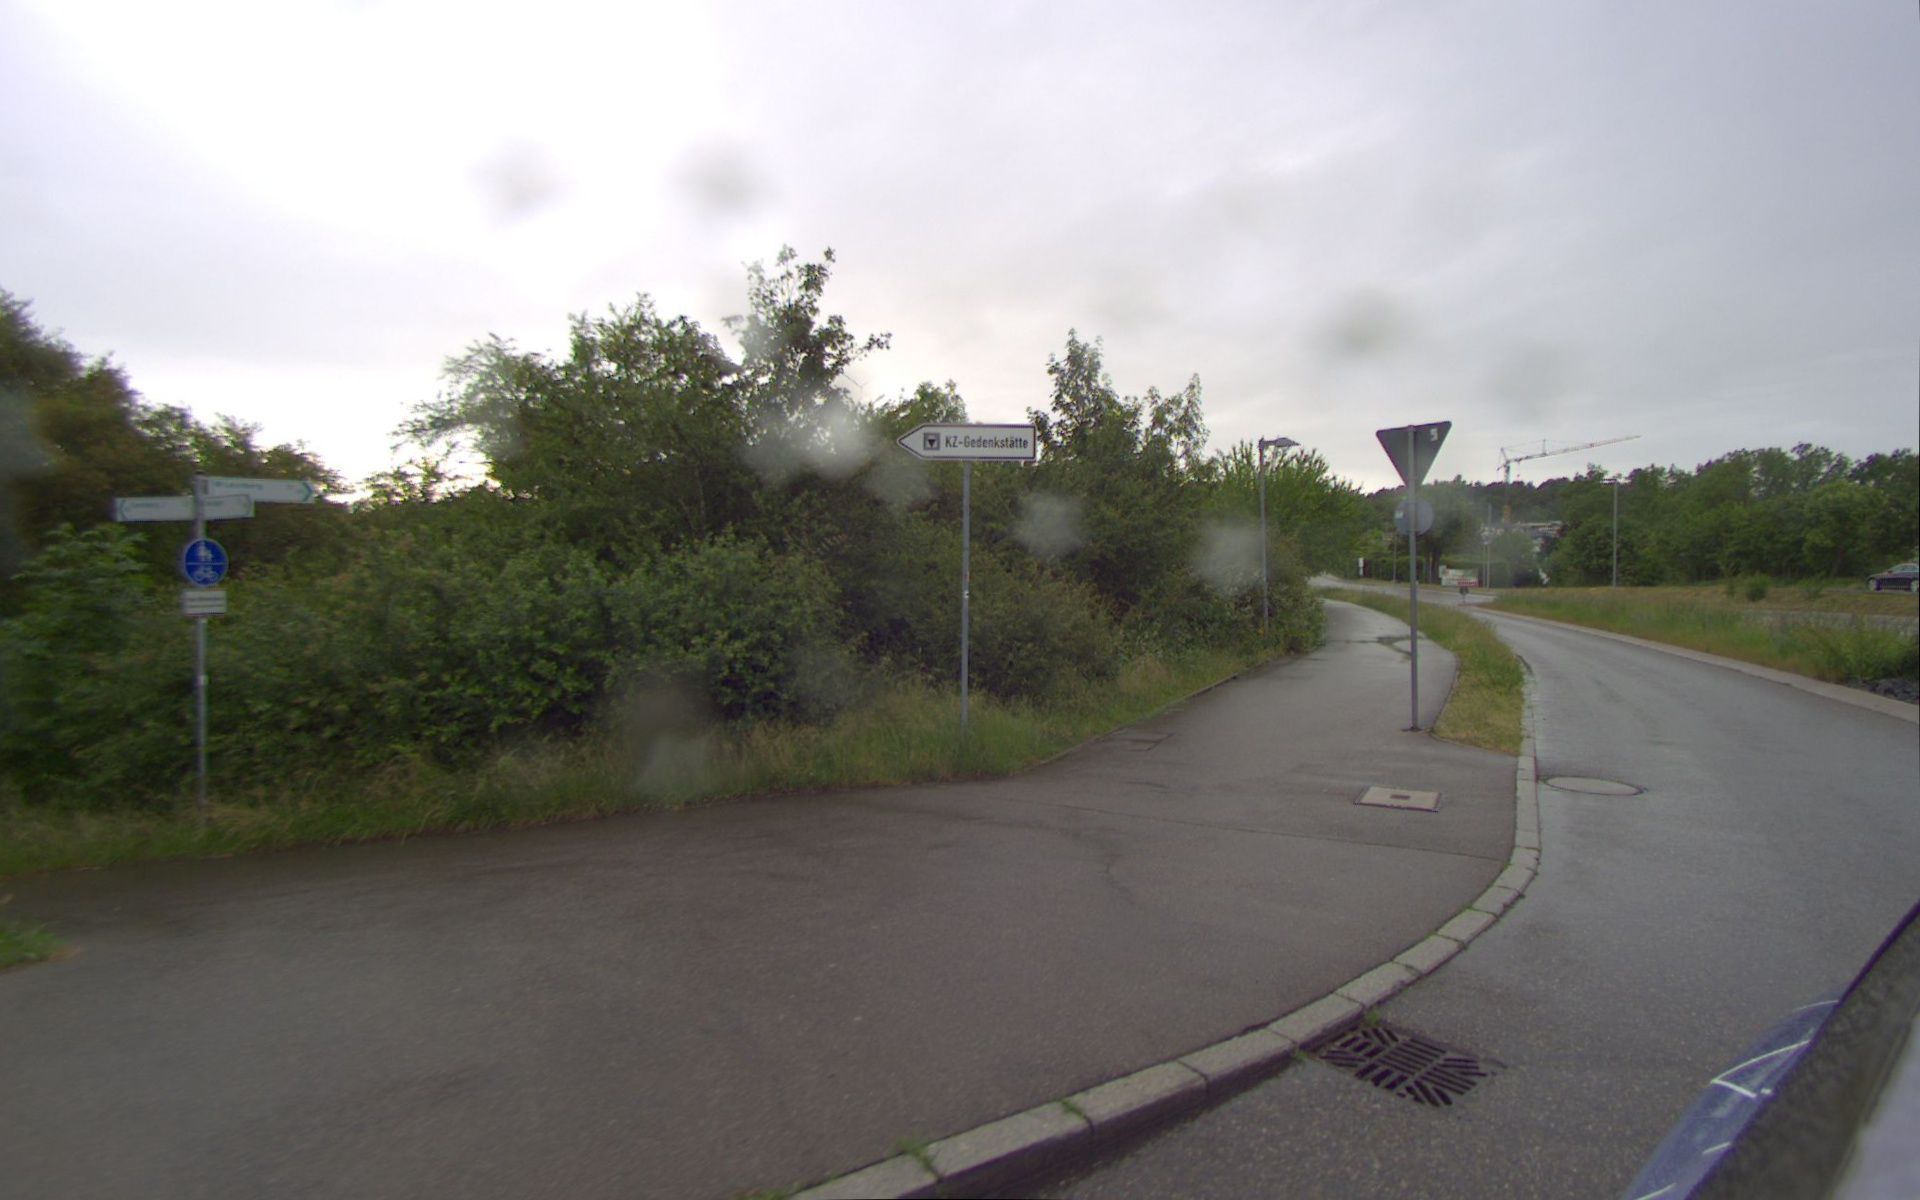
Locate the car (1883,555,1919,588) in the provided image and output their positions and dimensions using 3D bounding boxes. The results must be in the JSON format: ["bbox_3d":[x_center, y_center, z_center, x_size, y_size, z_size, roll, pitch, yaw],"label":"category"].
[{"bbox_3d":[47.353,-1.429,49.148,1.671,1.588,4.523,-3,0,13],"label":"car"}]
